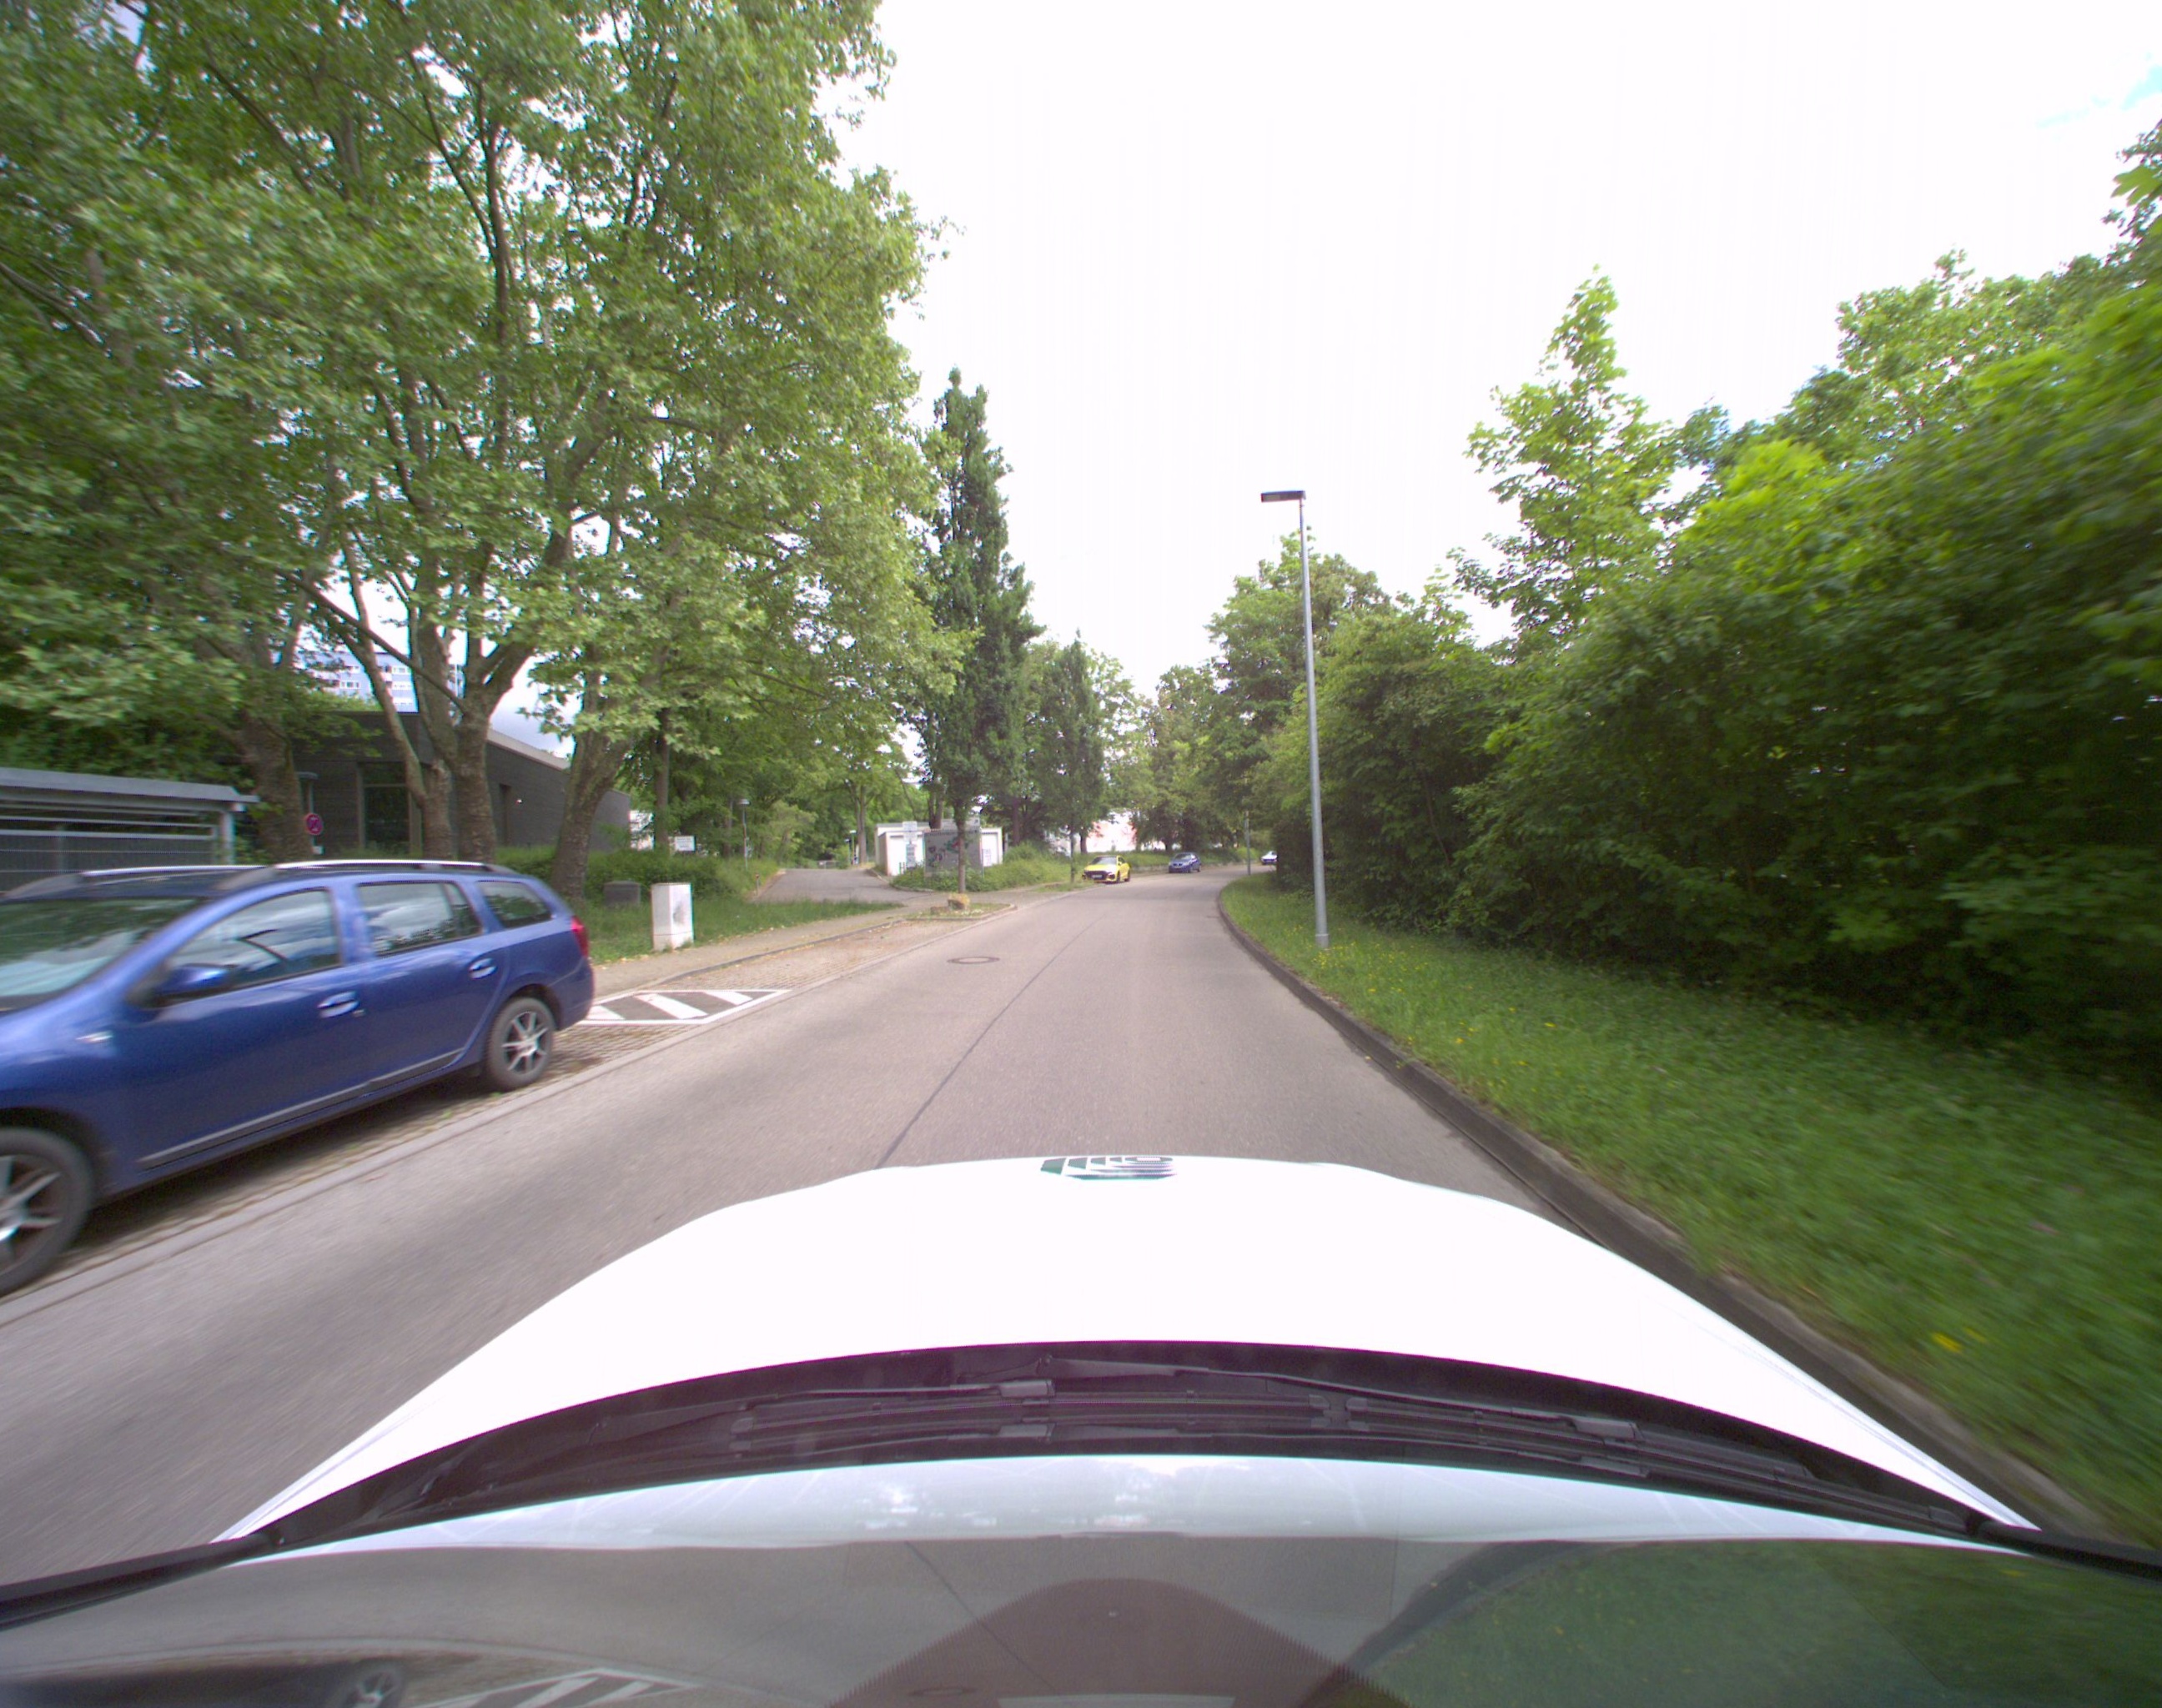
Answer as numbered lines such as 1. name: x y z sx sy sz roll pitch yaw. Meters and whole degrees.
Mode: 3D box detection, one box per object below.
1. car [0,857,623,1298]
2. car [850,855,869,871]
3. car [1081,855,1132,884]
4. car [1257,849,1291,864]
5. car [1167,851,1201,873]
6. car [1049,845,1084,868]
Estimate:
1. car: -4.548 0.802 4.264 1.674 1.511 4.432 -2 0 1
2. car: -27.004 1.068 99.322 1.873 1.746 3.985 -3 0 -10
3. car: 1.379 0.763 42.053 1.688 1.403 4.289 -1 0 14
4. car: 18.813 0.230 79.085 1.796 1.424 4.388 -1 0 33
5. car: 7.497 0.560 58.942 1.520 1.459 3.740 -2 0 22
6. car: -1.141 0.203 62.155 1.744 1.622 3.852 -3 0 -16
